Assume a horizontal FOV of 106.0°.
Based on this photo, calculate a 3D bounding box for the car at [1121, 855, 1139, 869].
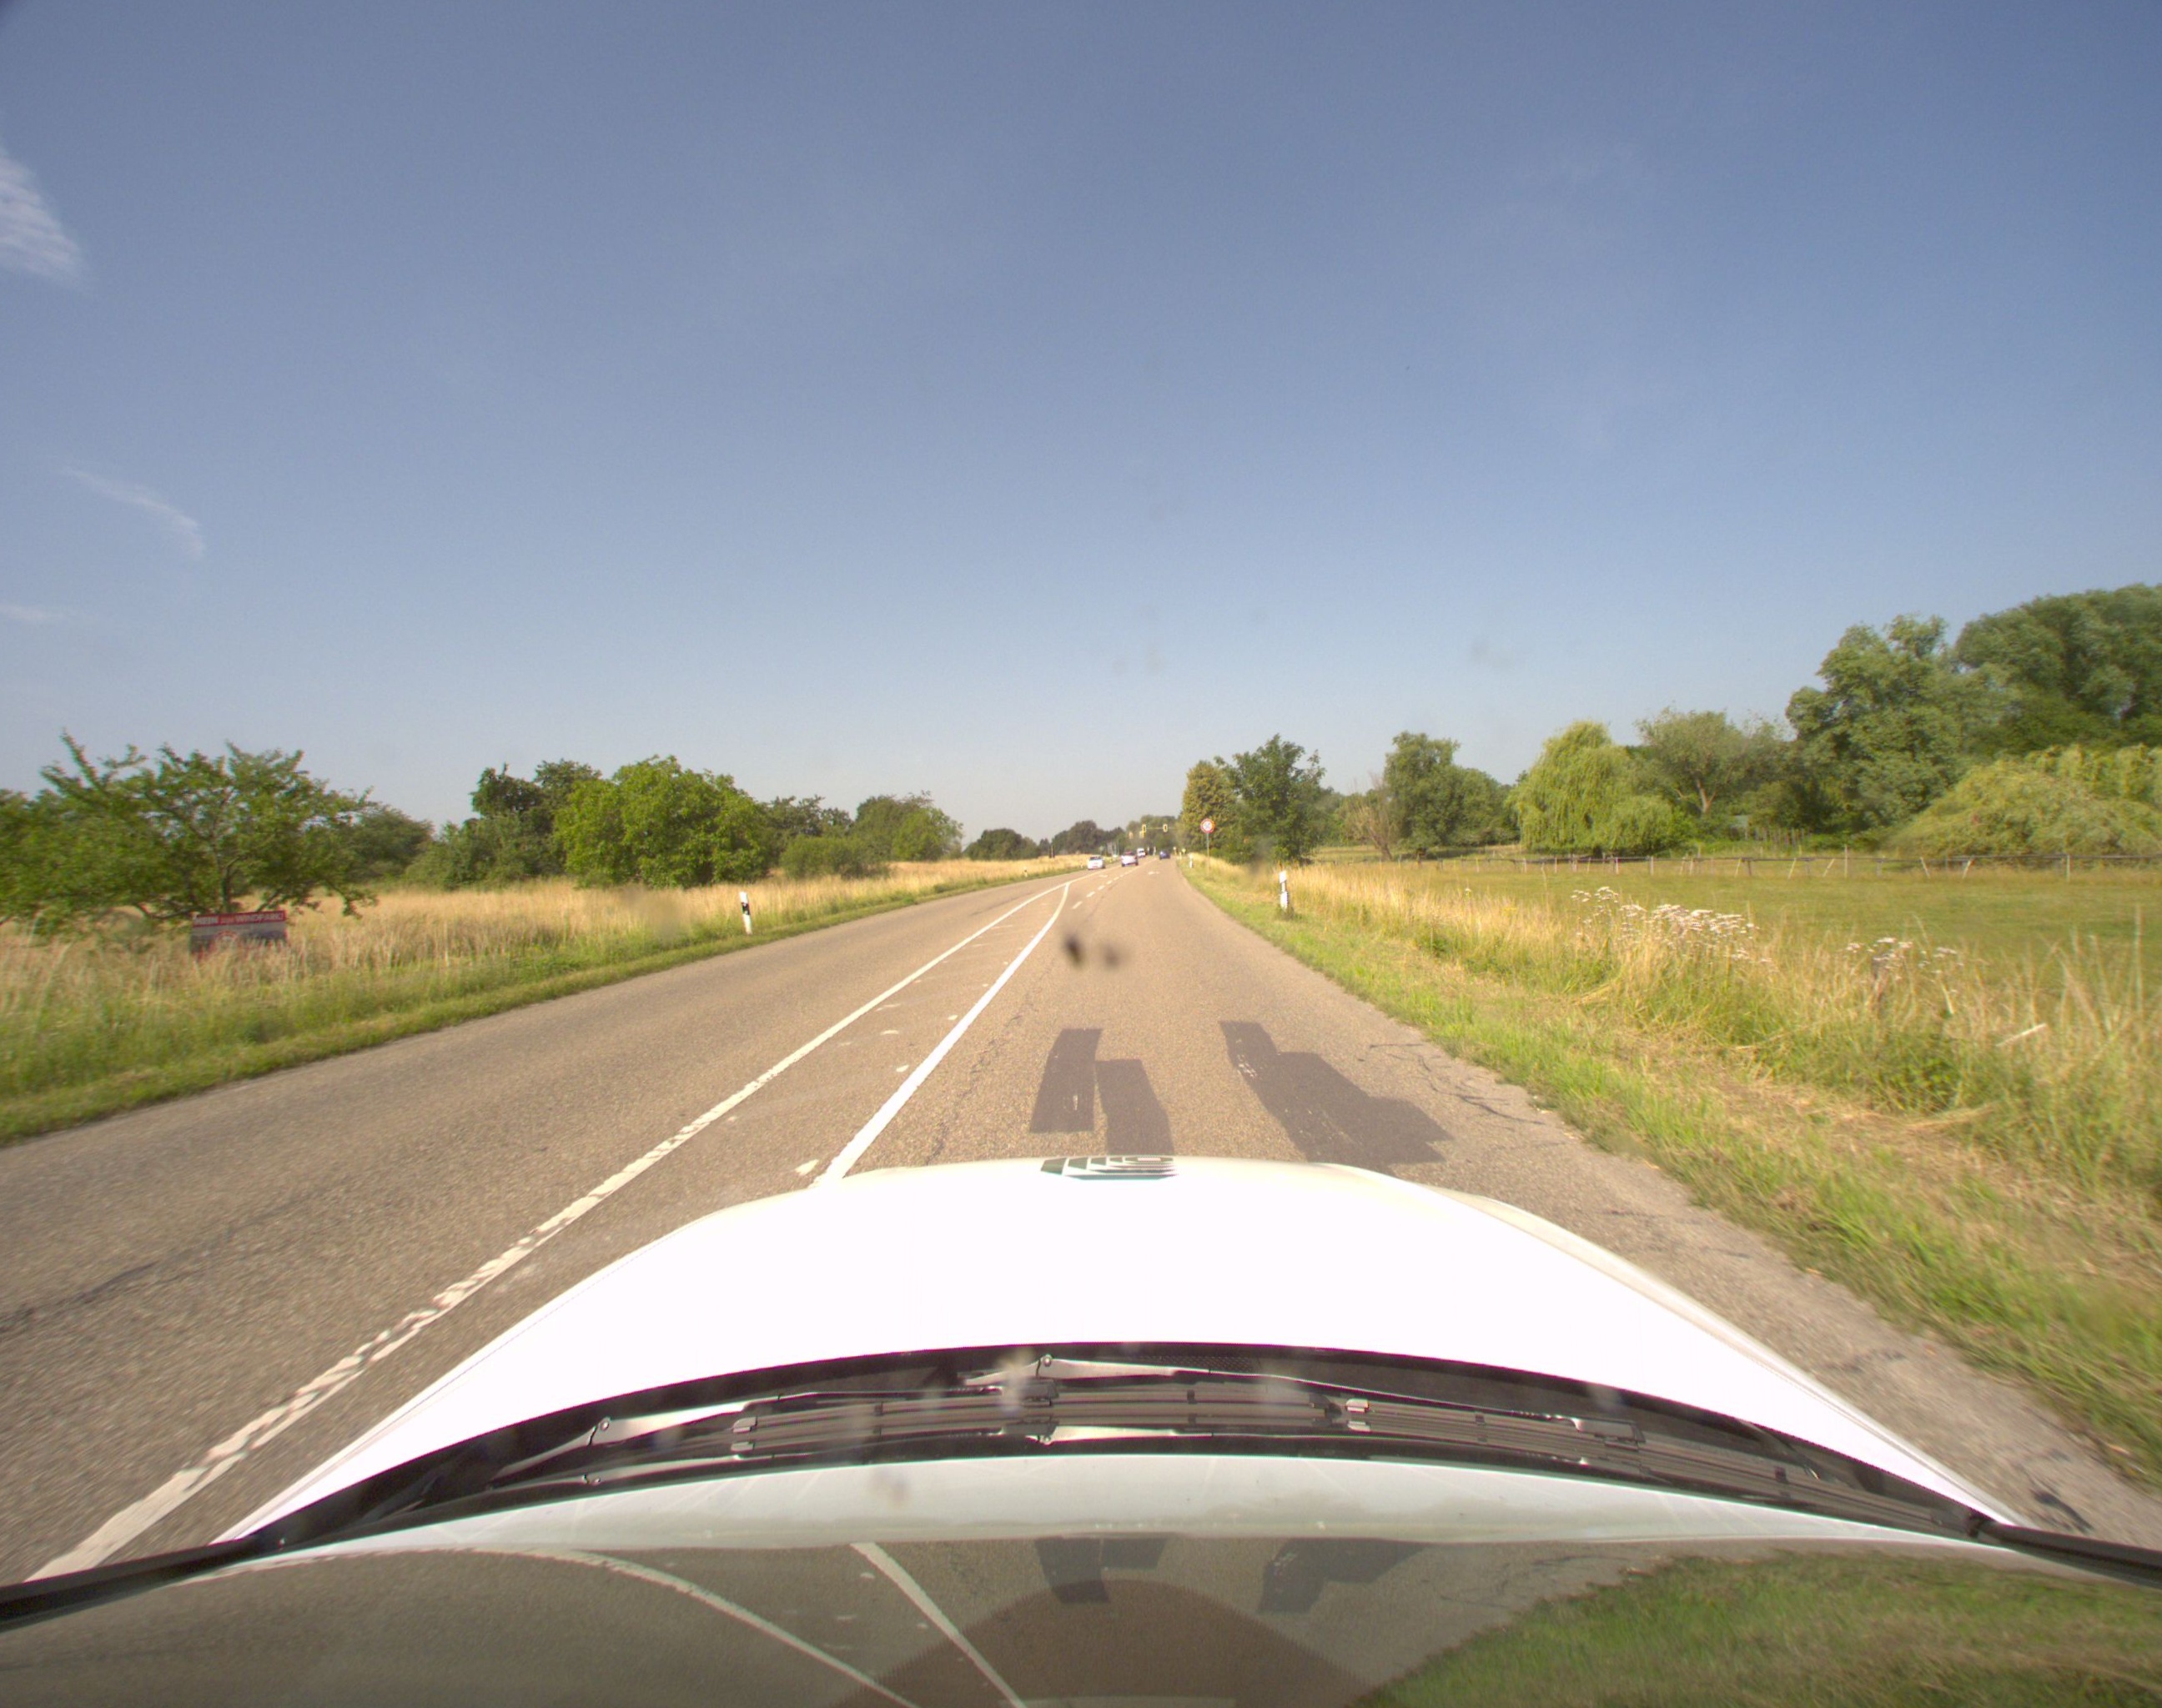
[{"bbox_3d":[5.698,0.896,94.063,1.890,1.512,4.006,0,0,6],"label":"car"}]

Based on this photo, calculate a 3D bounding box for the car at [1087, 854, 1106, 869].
[{"bbox_3d":[1.778,0.833,92.626,1.803,1.585,4.230,-2,0,5],"label":"car"}]

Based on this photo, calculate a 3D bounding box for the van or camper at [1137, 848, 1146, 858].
[{"bbox_3d":[17.607,-0.330,236.049,2.252,2.709,5.273,0,0,7],"label":"van or camper"}]

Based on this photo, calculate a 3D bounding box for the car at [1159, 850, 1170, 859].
[{"bbox_3d":[14.396,0.055,140.331,1.806,1.520,4.007,-3,0,6],"label":"car"}]

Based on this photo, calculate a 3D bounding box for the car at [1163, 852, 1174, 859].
[{"bbox_3d":[17.793,0.308,165.464,1.834,1.552,4.001,0,0,1],"label":"car"}]
